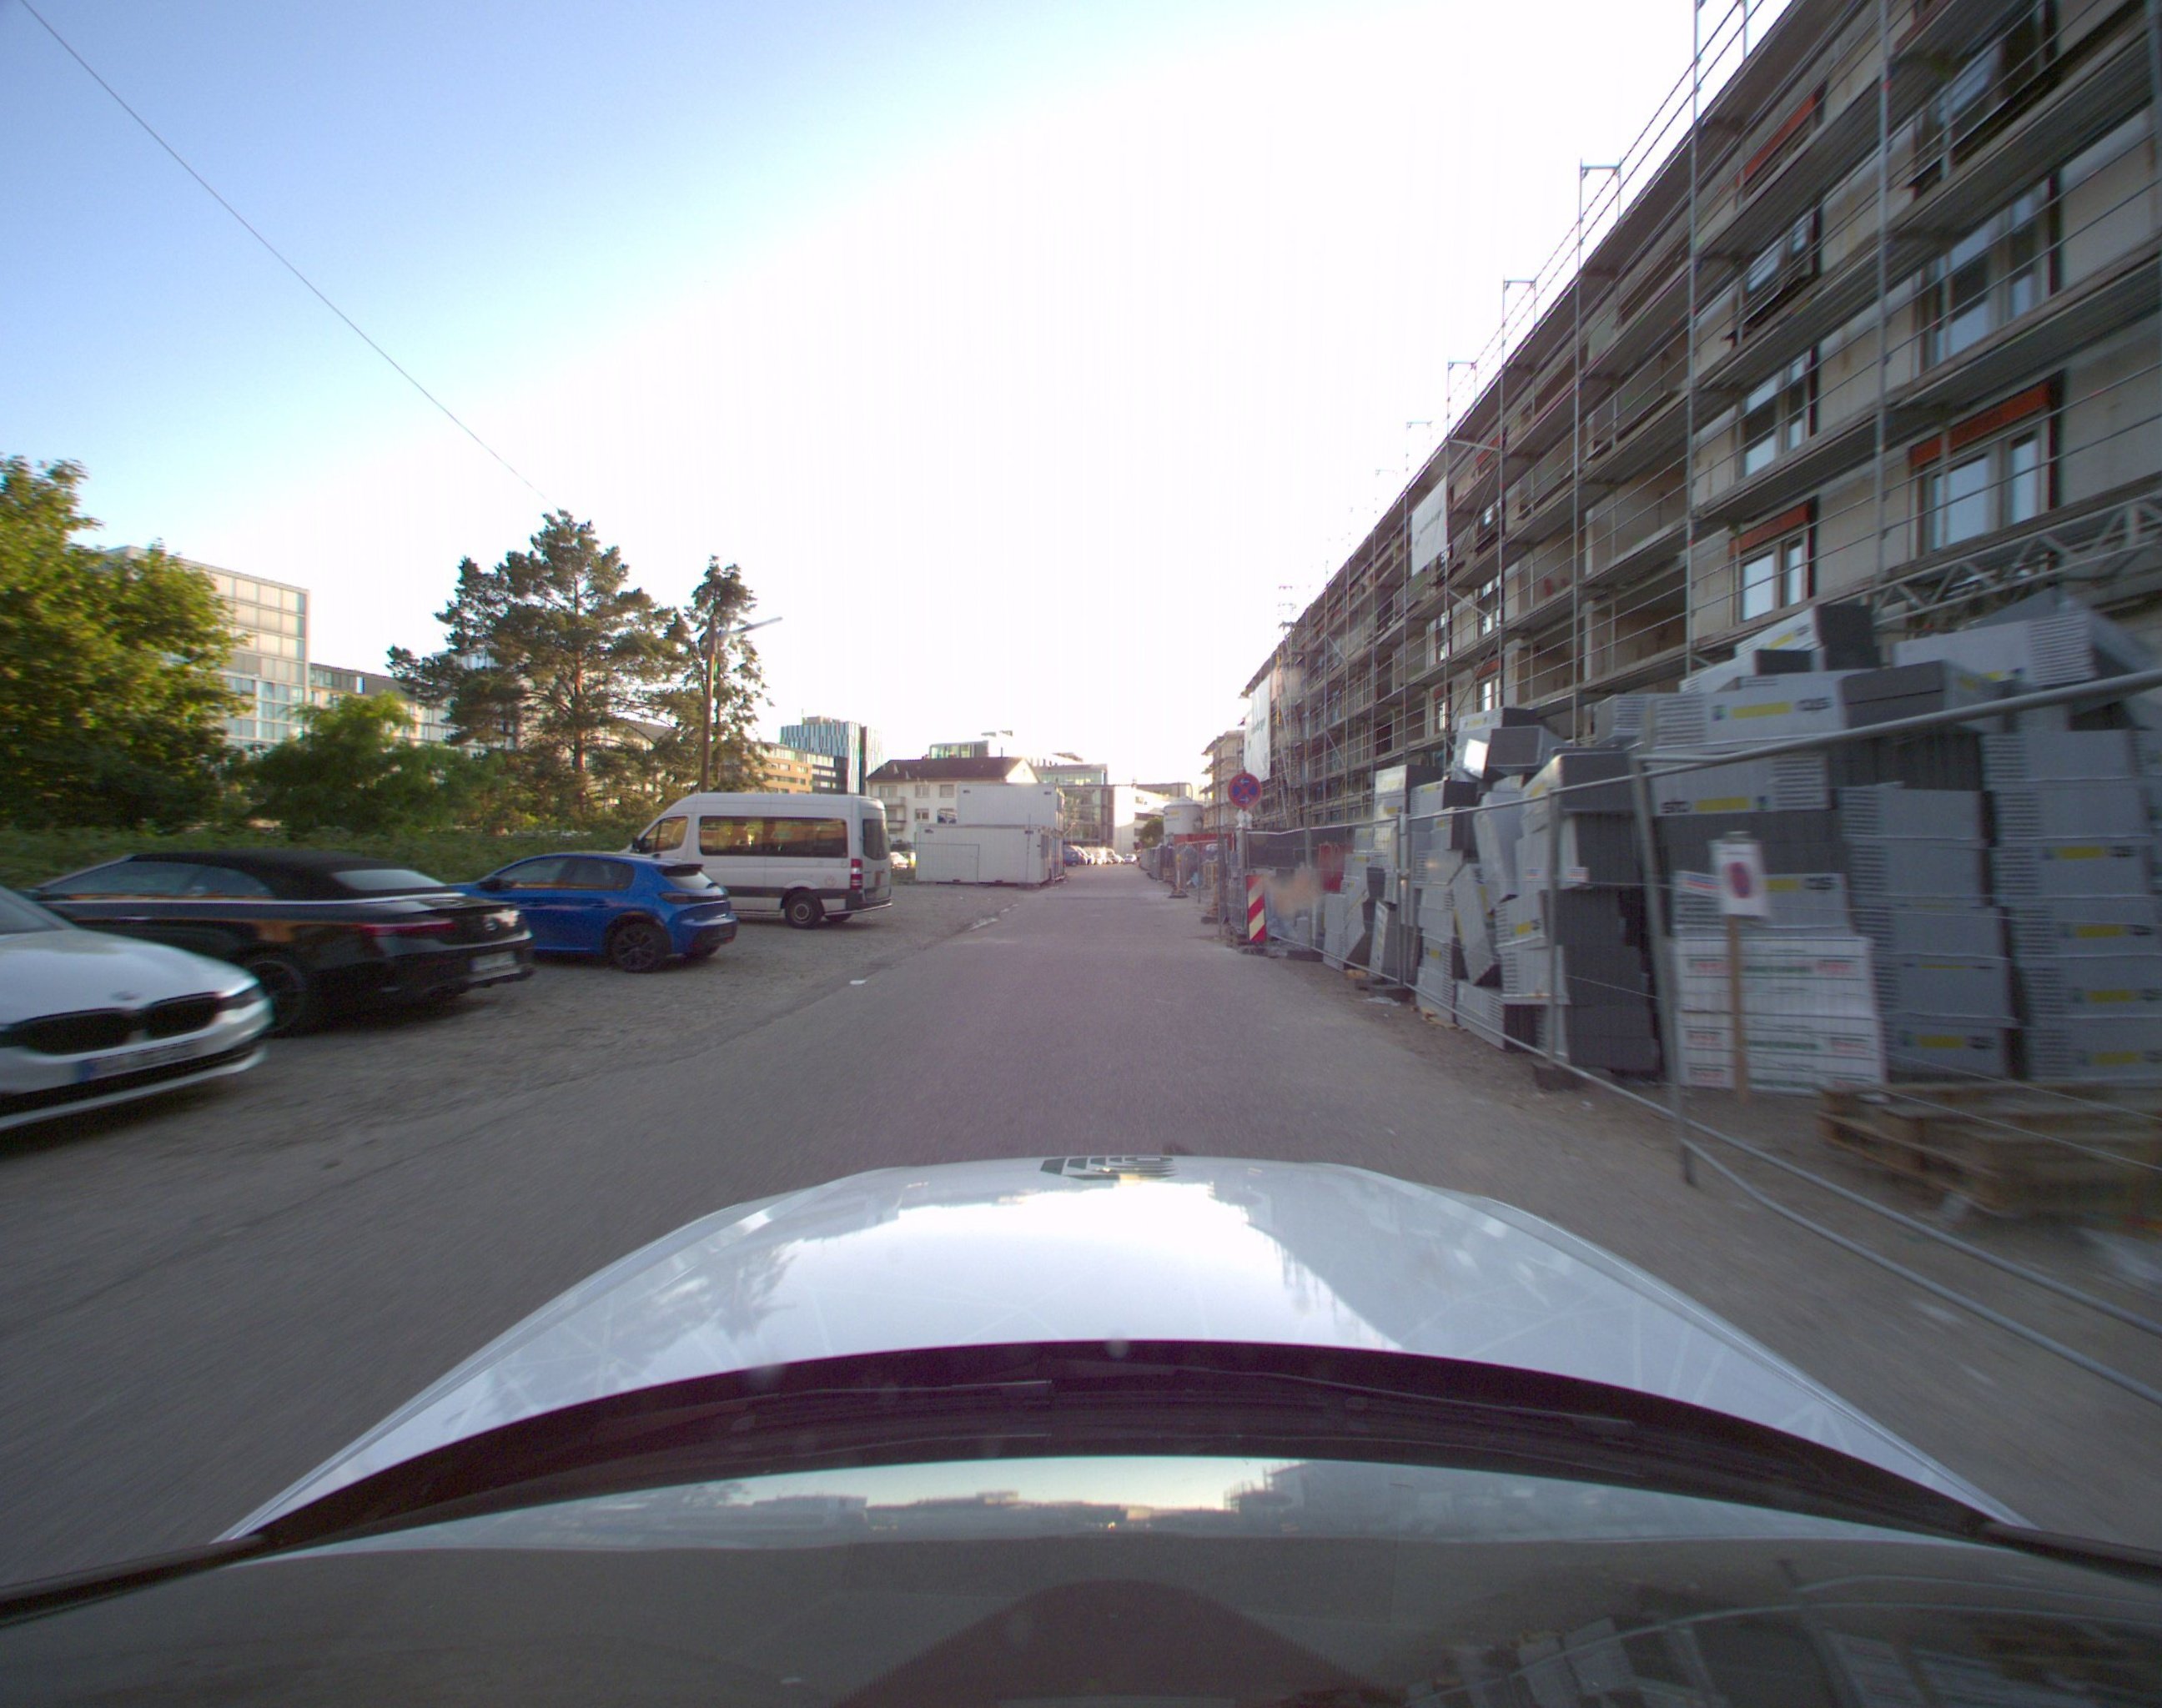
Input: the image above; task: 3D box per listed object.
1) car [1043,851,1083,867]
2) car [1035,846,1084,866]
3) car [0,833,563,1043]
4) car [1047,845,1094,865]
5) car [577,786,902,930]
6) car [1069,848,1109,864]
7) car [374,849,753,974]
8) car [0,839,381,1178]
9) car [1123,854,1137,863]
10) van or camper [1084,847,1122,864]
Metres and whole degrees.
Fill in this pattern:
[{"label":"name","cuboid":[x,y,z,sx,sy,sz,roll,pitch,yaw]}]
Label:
[{"label":"car","cuboid":[-2.098,0.549,94.340,4.493,1.868,1.998,0,0,-3]},{"label":"car","cuboid":[-2.870,0.247,108.368,6.302,2.651,2.001,0,0,3]},{"label":"car","cuboid":[-7.341,0.639,7.126,4.403,1.544,1.727,1,0,-1]},{"label":"car","cuboid":[-1.386,0.165,112.089,6.302,2.741,2.001,0,0,3]},{"label":"car","cuboid":[-6.822,0.065,16.731,5.663,2.626,2.224,1,-1,4]},{"label":"car","cuboid":[1.250,0.290,127.280,5.882,2.490,2.007,0,0,13]},{"label":"car","cuboid":[-6.636,0.705,10.765,3.824,1.429,1.727,1,0,0]},{"label":"car","cuboid":[-7.397,0.670,4.696,4.971,1.544,2.118,1,0,4]},{"label":"car","cuboid":[7.866,0.727,130.466,1.654,1.529,3.921,0,0,10]},{"label":"van or camper","cuboid":[3.805,0.255,140.988,6.286,2.979,2.301,1,-1,15]}]
